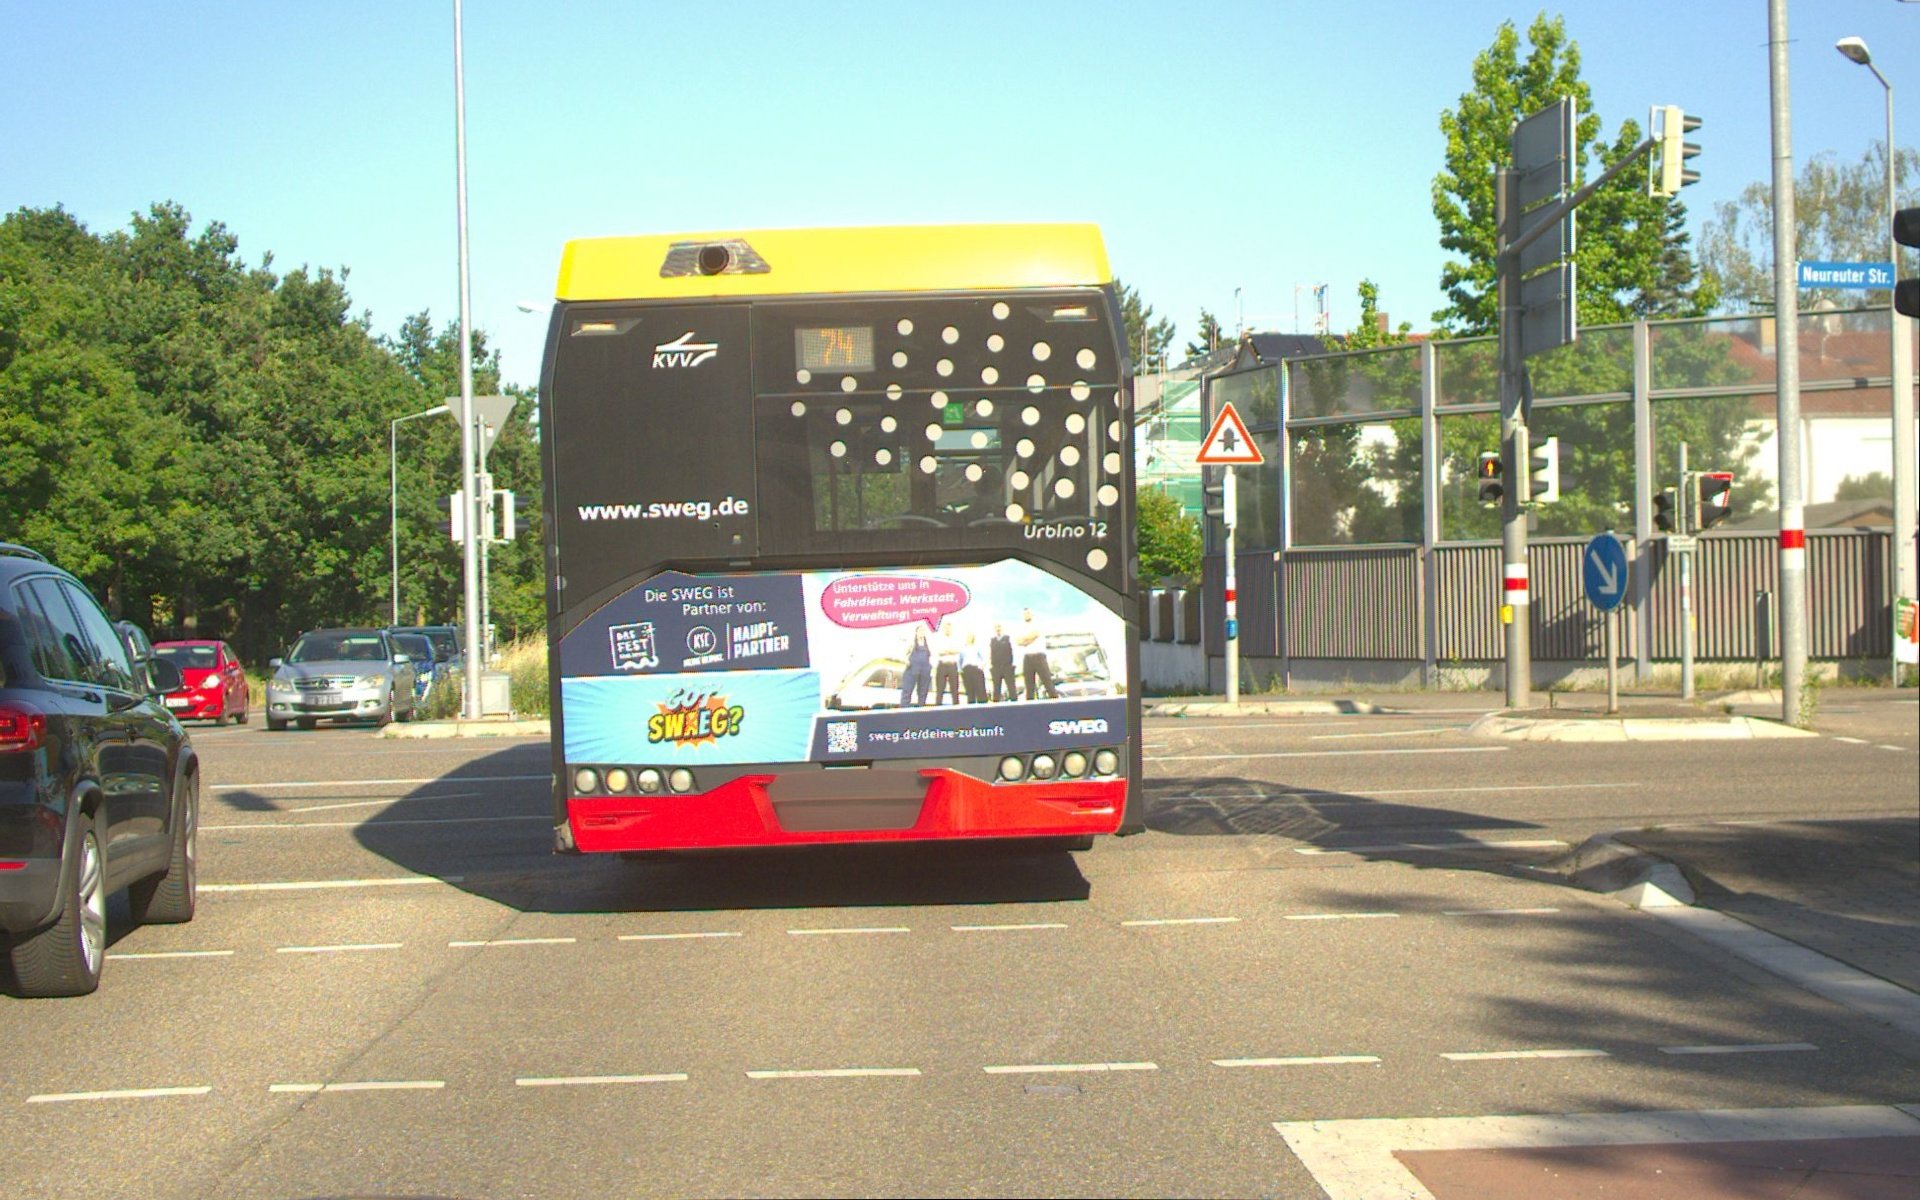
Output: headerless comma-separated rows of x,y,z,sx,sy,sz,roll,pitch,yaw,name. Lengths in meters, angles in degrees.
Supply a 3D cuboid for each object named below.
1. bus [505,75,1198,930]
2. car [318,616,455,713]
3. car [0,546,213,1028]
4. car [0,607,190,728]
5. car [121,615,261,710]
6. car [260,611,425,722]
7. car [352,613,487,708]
-0.725,-0.470,20.366,2.757,3.446,12.399,-2,1,-3,bus
-9.319,1.028,56.103,1.746,1.478,3.888,-1,0,-3,car
-4.166,0.626,13.527,1.826,1.622,4.001,-1,0,-4,car
-12.632,0.963,50.115,1.993,1.638,4.530,-1,0,-3,car
-12.719,1.019,57.040,1.645,1.478,3.713,-1,0,-3,car
-8.944,0.948,50.084,1.793,1.501,4.530,-1,0,-3,car
-9.783,1.076,62.486,1.993,1.611,4.531,-1,0,-4,car
